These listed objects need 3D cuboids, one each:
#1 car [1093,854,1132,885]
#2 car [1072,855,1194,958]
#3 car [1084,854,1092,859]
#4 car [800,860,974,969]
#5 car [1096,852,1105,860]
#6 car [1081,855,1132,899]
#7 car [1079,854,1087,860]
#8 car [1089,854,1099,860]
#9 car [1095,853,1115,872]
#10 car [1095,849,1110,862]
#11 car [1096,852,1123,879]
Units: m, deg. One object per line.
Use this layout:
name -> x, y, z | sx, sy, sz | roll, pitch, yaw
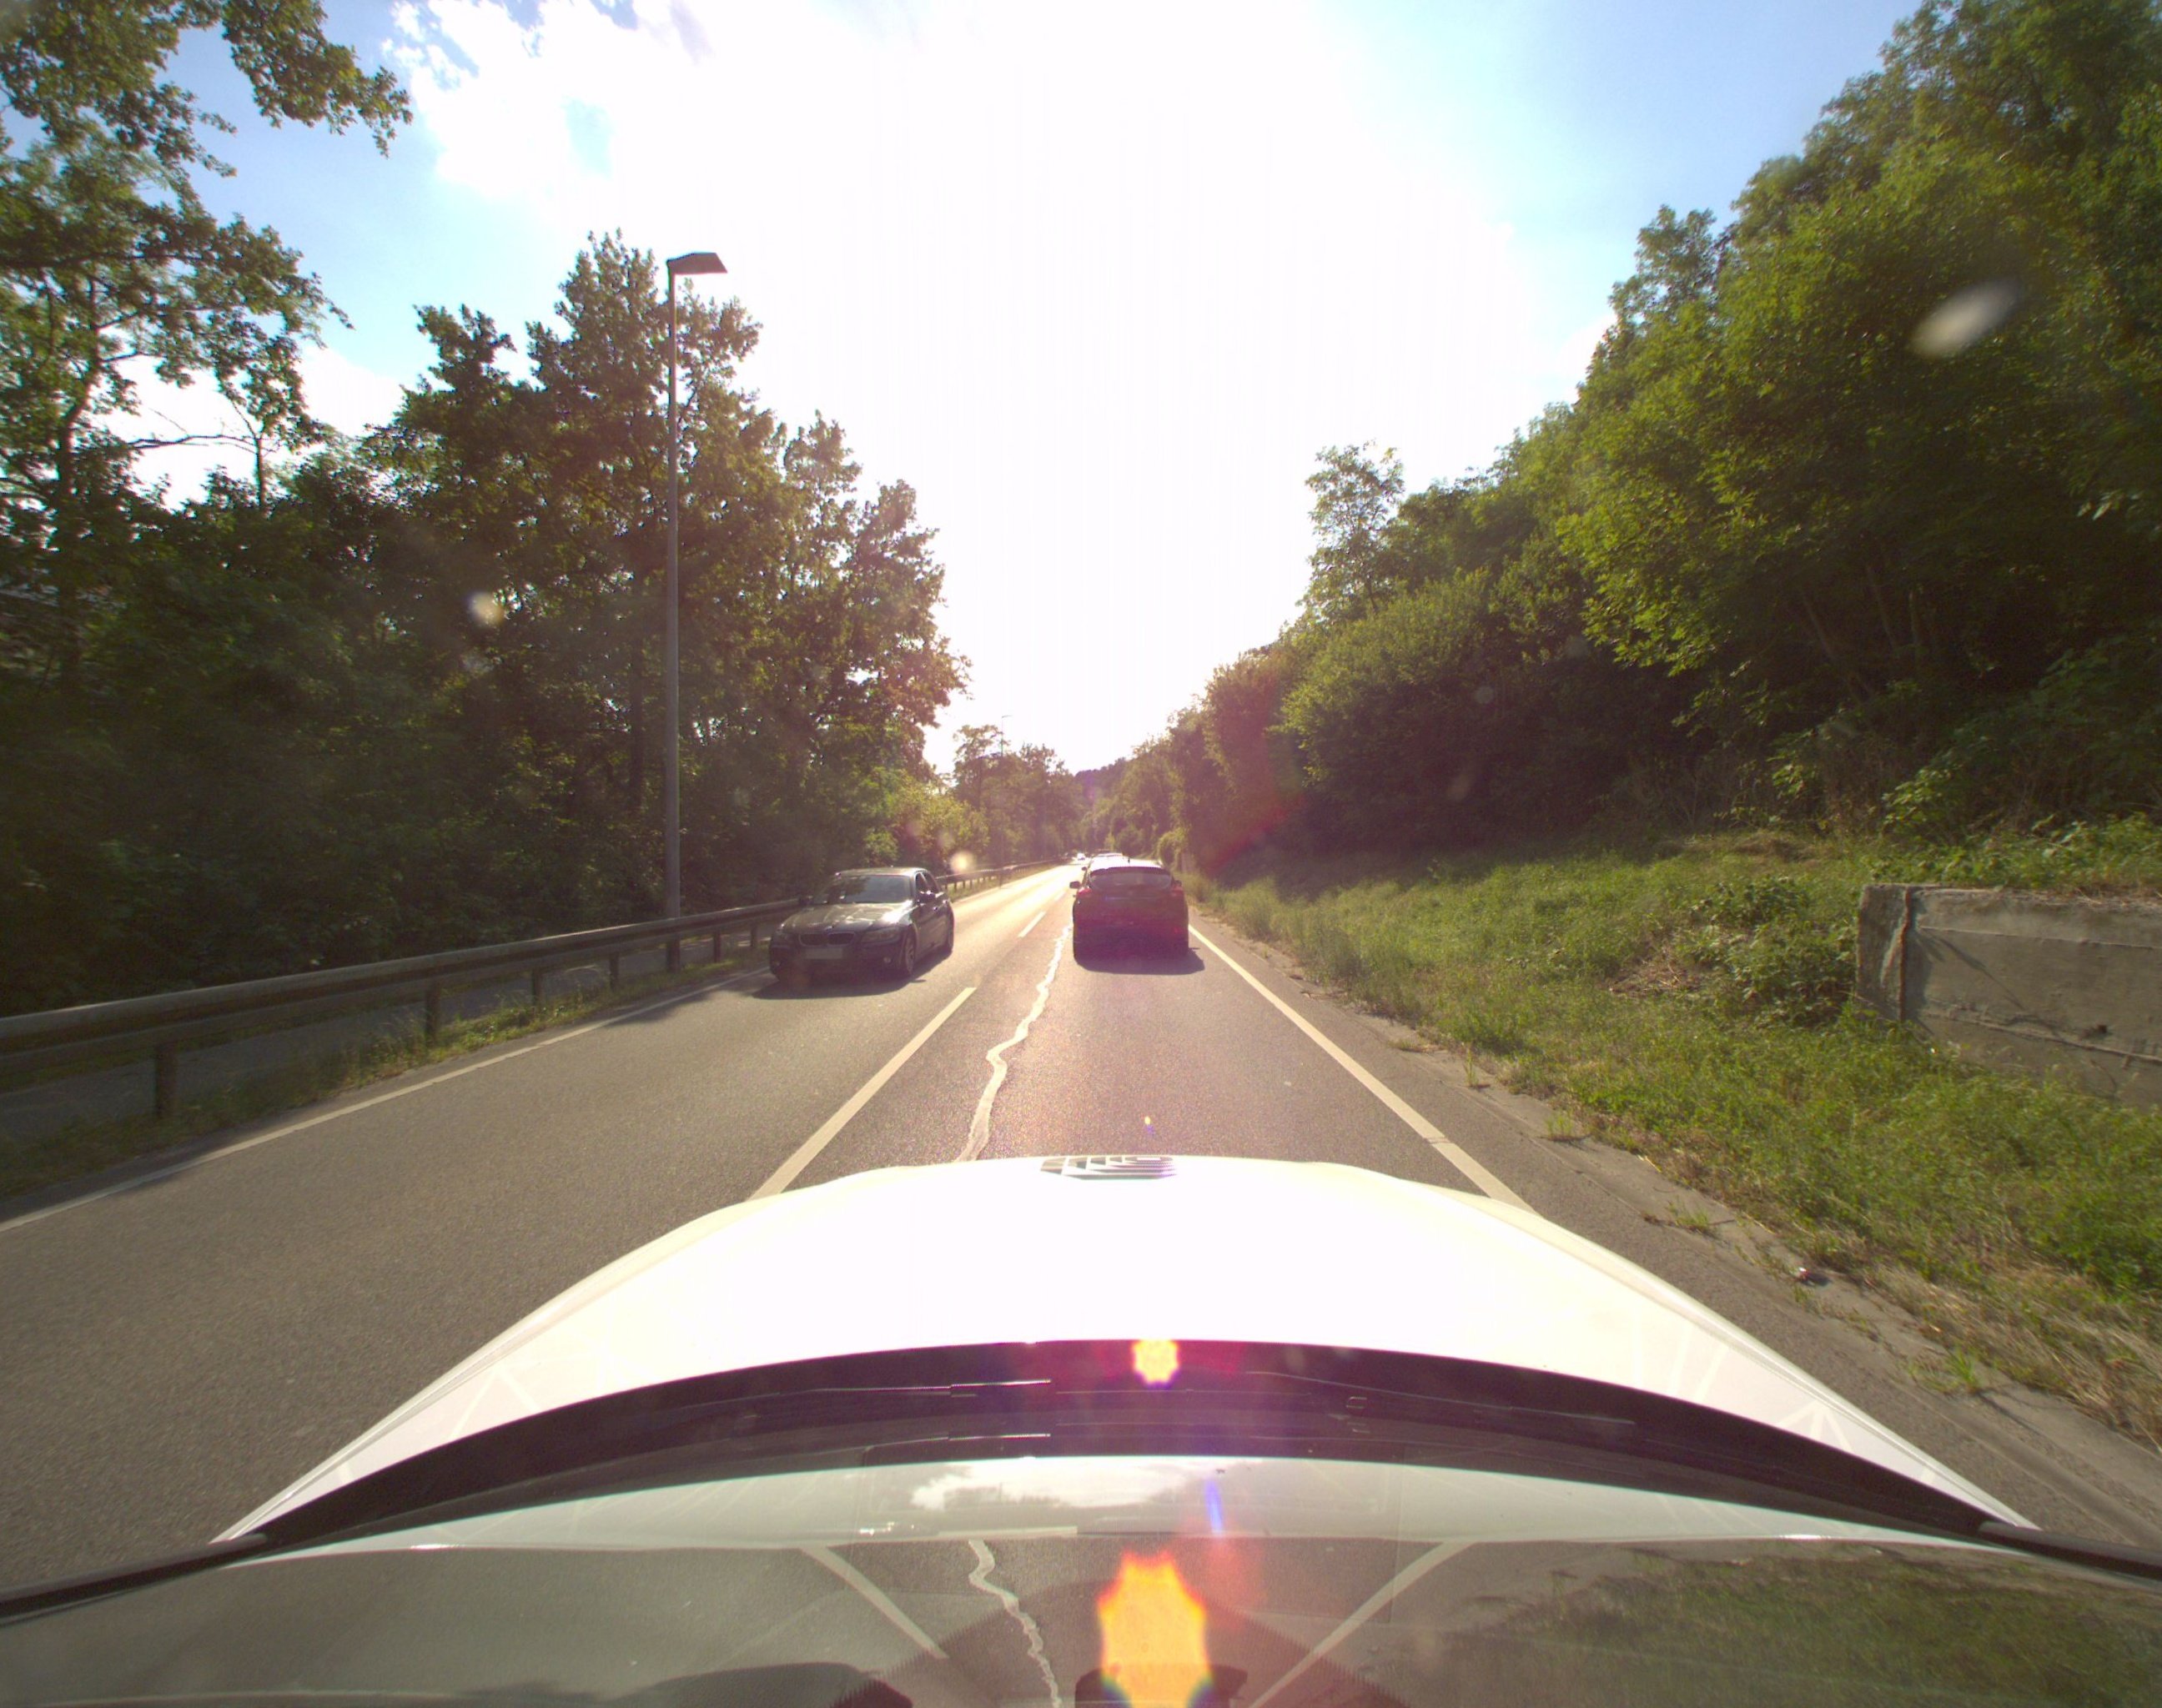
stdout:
car -> 1.546, 0.729, 40.308 | 1.798, 1.391, 4.002 | -1, 0, 2
car -> 0.810, 0.767, 13.704 | 1.733, 1.456, 4.002 | -1, 0, 2
car -> 2.070, 0.755, 238.665 | 1.991, 1.519, 3.992 | -1, 0, -5
car -> -2.946, 0.848, 13.263 | 1.685, 1.420, 4.143 | -1, 0, 2
car -> 3.992, 0.466, 164.092 | 1.812, 1.519, 4.002 | -1, 0, 2
car -> 0.971, 0.773, 29.186 | 1.654, 1.418, 4.003 | -1, 0, 3
car -> 0.389, 0.647, 177.239 | 1.617, 1.377, 4.048 | -3, 0, 1
car -> 3.461, 0.770, 217.973 | 1.991, 1.519, 3.992 | -1, 0, -6
car -> 2.077, 0.741, 70.927 | 1.624, 1.596, 4.002 | -1, 0, 2
car -> 3.244, 0.204, 121.098 | 1.859, 1.780, 3.995 | -1, 0, -4
car -> 1.767, 0.687, 50.692 | 1.624, 1.596, 4.002 | -1, 0, 2
